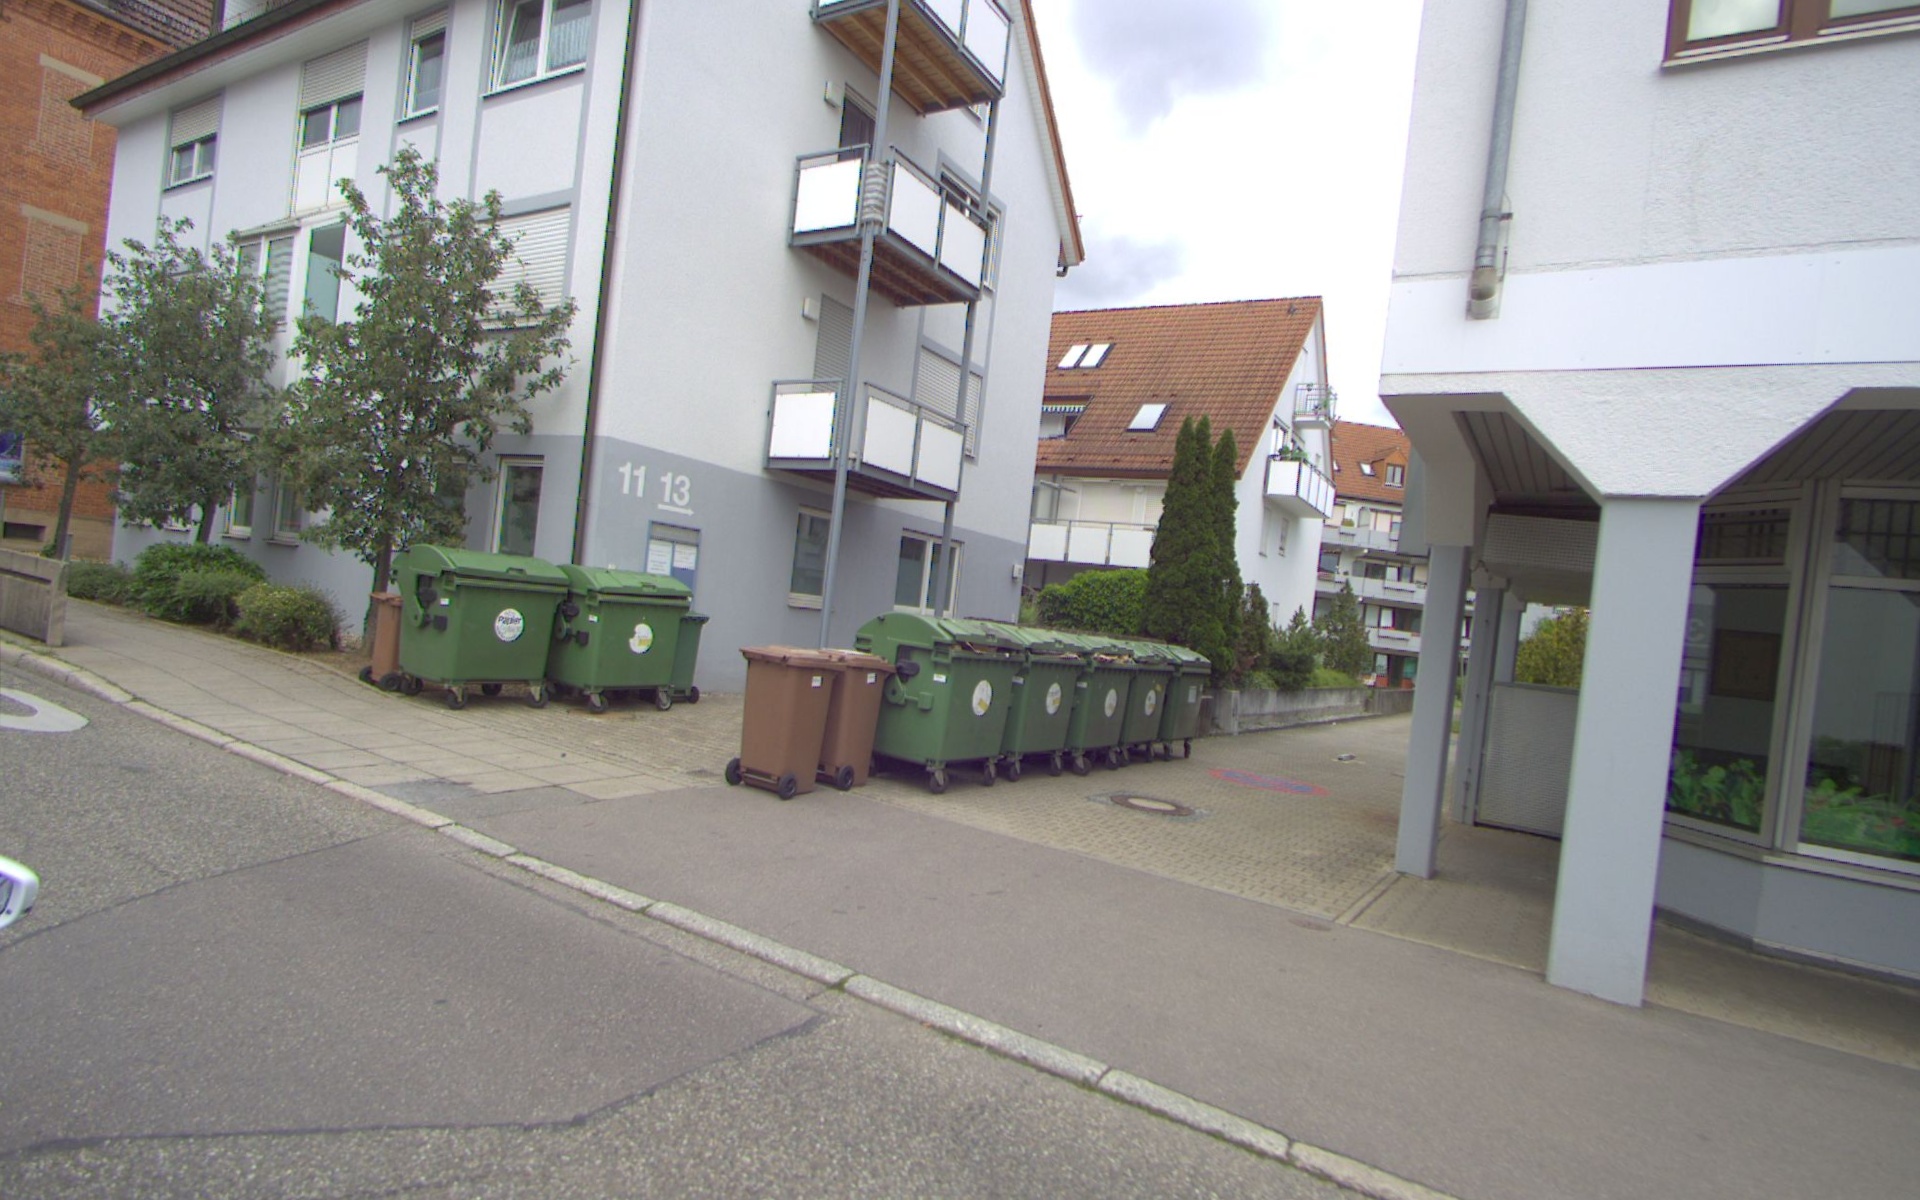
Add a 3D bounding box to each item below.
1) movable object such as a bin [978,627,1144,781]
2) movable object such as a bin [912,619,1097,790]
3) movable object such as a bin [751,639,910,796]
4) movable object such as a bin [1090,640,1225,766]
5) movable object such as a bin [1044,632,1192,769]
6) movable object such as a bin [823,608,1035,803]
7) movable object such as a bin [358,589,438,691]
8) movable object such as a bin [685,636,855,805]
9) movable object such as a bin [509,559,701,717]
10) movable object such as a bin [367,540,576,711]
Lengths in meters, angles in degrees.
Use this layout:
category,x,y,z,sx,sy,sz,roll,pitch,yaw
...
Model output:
category,x,y,z,sx,sy,sz,roll,pitch,yaw
movable object such as a bin,1.127,1.116,11.079,1.239,1.434,1.210,7,0,35
movable object such as a bin,0.456,1.009,10.018,1.239,1.434,1.210,7,0,35
movable object such as a bin,-1.058,0.933,8.232,0.956,1.092,0.698,7,0,35
movable object such as a bin,2.643,1.350,13.405,1.239,1.434,1.210,7,0,35
movable object such as a bin,1.951,1.211,12.373,1.239,1.434,1.210,7,0,35
movable object such as a bin,-0.261,0.897,8.862,1.239,1.434,1.210,7,0,35
movable object such as a bin,-5.513,0.396,9.870,0.457,0.932,0.430,7,0,32
movable object such as a bin,-1.440,0.883,7.611,0.956,1.080,0.683,7,0,35
movable object such as a bin,-3.754,0.408,10.693,1.286,1.452,1.269,7,0,32
movable object such as a bin,-4.671,0.258,9.673,1.143,1.434,1.269,7,0,32
